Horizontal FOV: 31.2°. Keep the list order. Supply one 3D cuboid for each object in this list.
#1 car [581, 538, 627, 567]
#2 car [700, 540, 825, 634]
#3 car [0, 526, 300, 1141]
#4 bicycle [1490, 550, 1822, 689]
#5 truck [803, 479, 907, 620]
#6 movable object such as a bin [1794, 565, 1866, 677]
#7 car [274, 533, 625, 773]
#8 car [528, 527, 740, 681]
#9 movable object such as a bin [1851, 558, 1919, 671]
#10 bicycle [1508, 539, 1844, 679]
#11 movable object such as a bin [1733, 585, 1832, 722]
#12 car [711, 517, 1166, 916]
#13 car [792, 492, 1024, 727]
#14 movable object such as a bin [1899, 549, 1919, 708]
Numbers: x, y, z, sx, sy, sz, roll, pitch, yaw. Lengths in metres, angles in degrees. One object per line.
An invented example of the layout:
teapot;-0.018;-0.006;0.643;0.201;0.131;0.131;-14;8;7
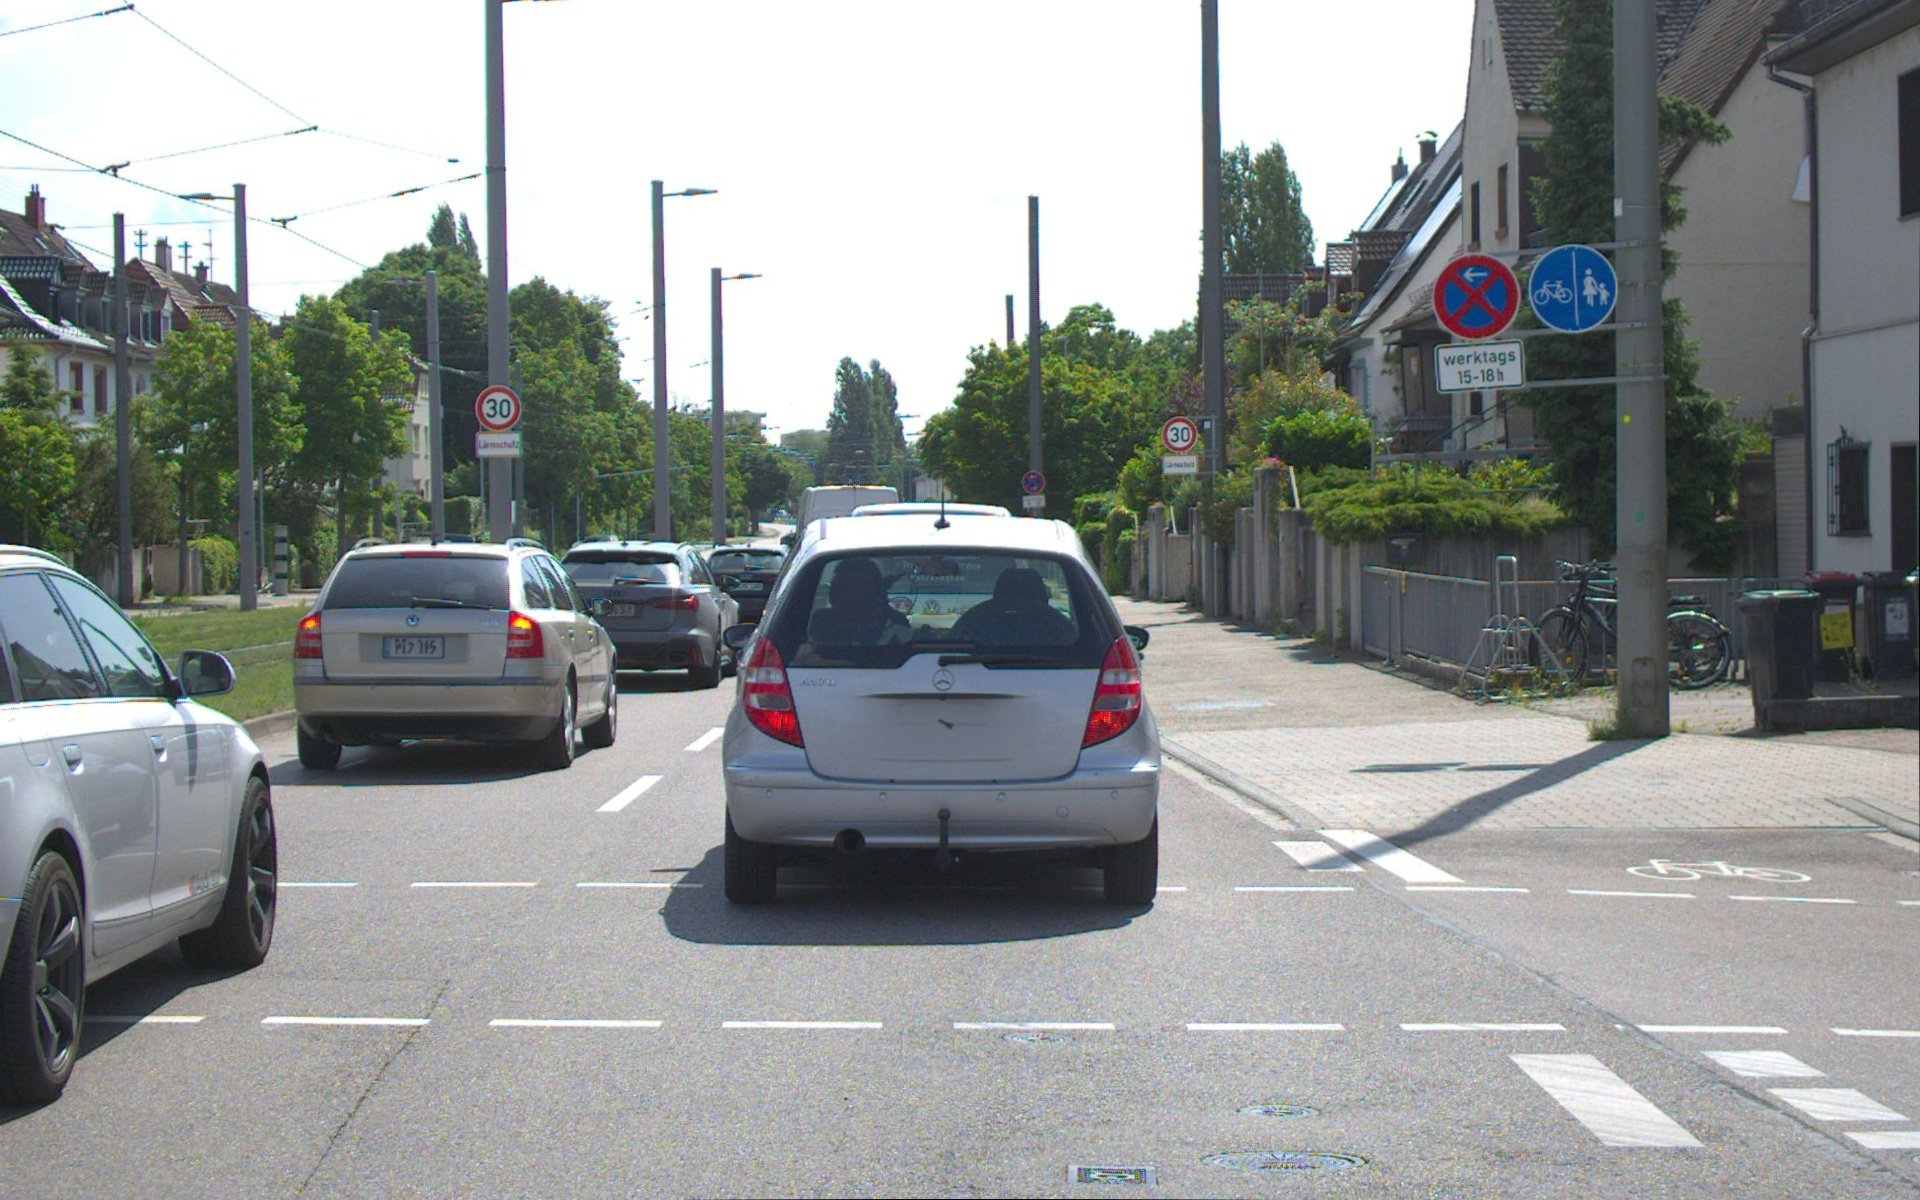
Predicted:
car;-19.342;-2.584;187.055;1.916;1.472;4.562;1;1;2
car;-3.077;-0.235;54.249;1.852;1.383;4.515;1;1;-2
car;-3.275;0.532;10.249;1.794;1.467;4.722;0;2;-1
bicycle;6.040;0.160;29.907;2.726;1.116;0.691;-2;1;-1
truck;-2.021;-0.979;65.491;1.852;2.543;5.856;1;1;-2
movable object such as a bin;7.470;0.176;29.522;0.468;0.943;0.558;-1;1;0
car;-3.320;0.285;23.063;1.731;1.444;4.123;1;1;0
car;-3.351;-0.003;36.071;1.916;1.472;4.563;1;1;-2
movable object such as a bin;7.961;0.119;29.506;0.468;0.943;0.558;-1;1;0
bicycle;6.052;0.068;29.150;2.661;1.101;0.786;-2;1;-1
movable object such as a bin;5.669;0.362;23.720;0.511;0.915;0.741;0;1;0
car;-0.147;0.412;15.255;1.730;1.511;4.017;1;1;-2
car;-0.403;0.034;28.027;1.730;1.756;4.017;1;1;0
movable object such as a bin;6.879;0.195;23.819;0.511;1.101;0.855;0;1;0
